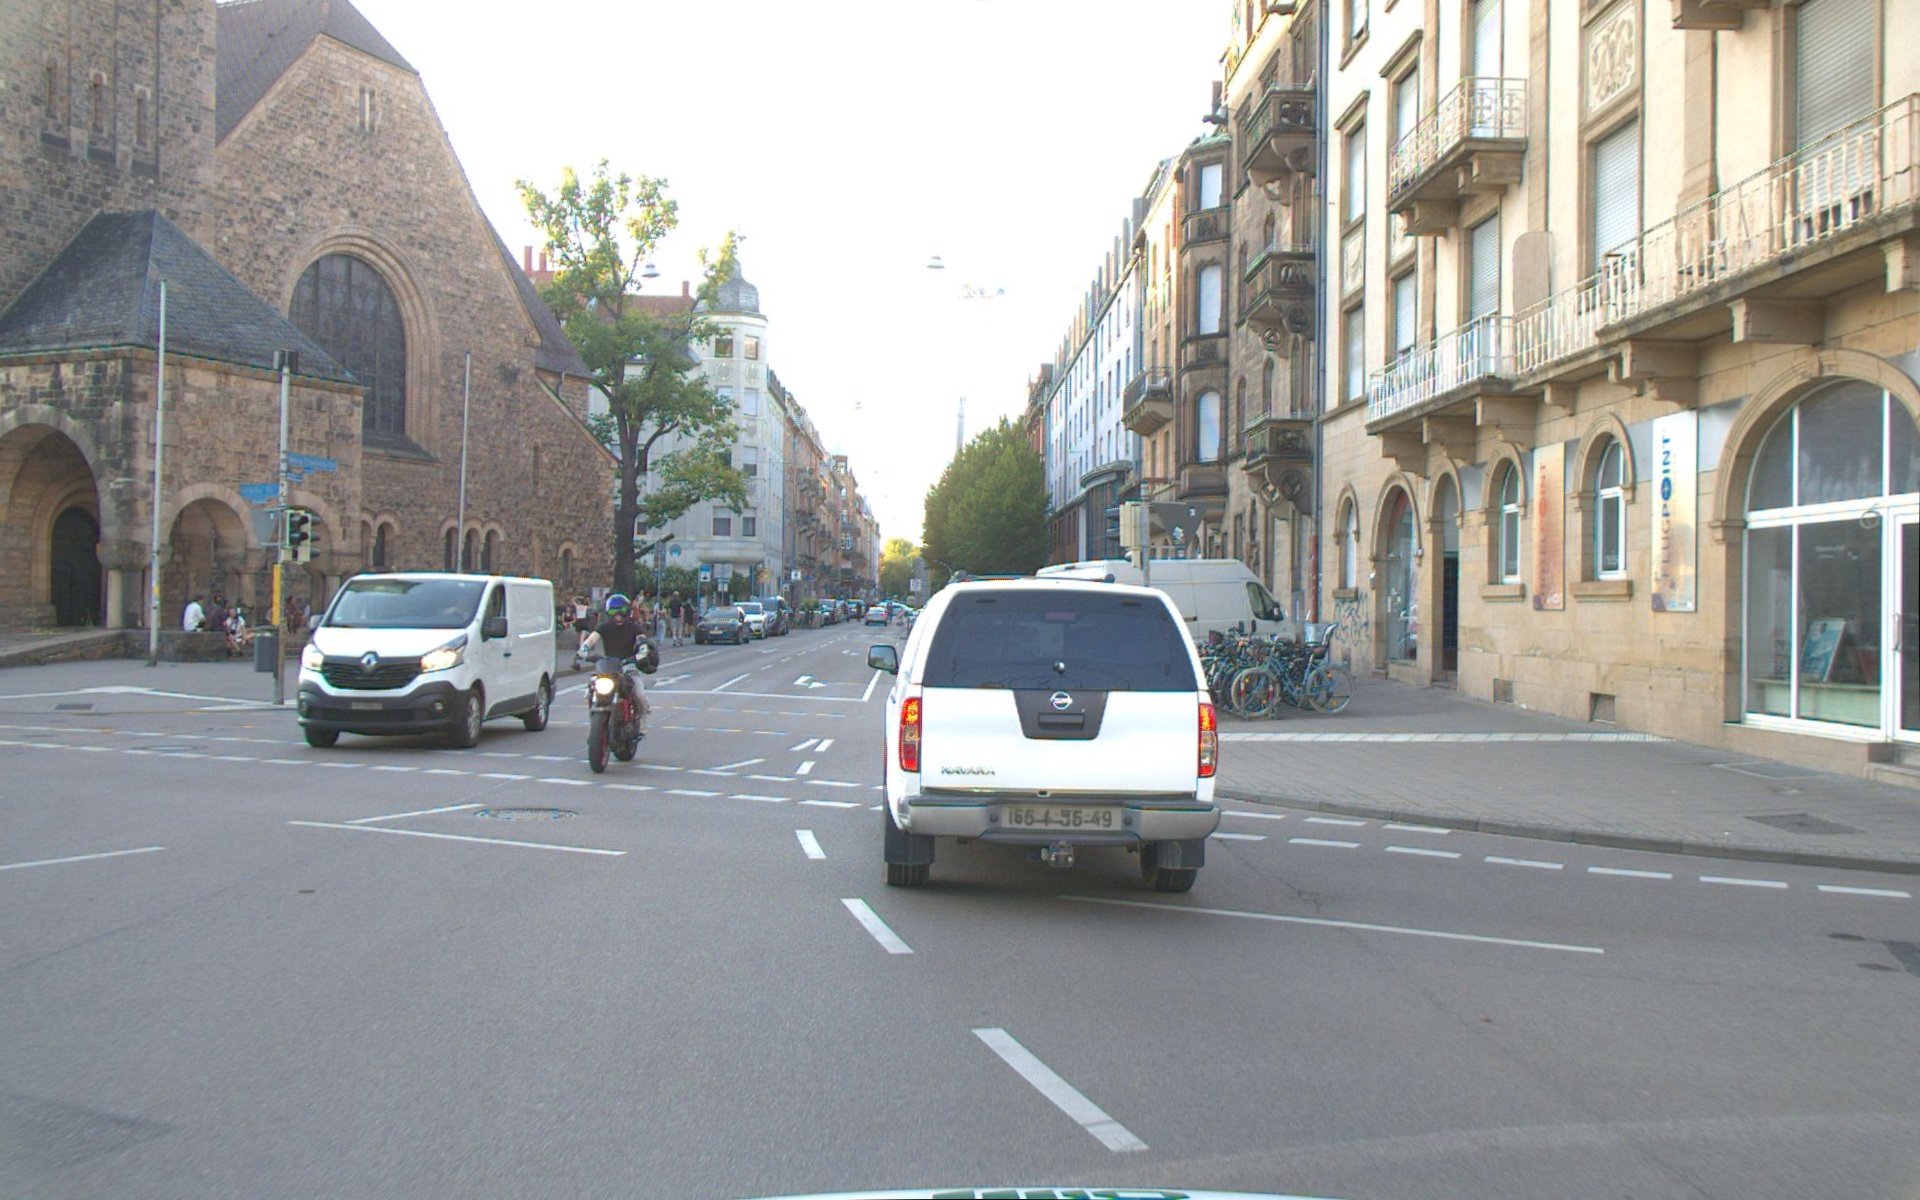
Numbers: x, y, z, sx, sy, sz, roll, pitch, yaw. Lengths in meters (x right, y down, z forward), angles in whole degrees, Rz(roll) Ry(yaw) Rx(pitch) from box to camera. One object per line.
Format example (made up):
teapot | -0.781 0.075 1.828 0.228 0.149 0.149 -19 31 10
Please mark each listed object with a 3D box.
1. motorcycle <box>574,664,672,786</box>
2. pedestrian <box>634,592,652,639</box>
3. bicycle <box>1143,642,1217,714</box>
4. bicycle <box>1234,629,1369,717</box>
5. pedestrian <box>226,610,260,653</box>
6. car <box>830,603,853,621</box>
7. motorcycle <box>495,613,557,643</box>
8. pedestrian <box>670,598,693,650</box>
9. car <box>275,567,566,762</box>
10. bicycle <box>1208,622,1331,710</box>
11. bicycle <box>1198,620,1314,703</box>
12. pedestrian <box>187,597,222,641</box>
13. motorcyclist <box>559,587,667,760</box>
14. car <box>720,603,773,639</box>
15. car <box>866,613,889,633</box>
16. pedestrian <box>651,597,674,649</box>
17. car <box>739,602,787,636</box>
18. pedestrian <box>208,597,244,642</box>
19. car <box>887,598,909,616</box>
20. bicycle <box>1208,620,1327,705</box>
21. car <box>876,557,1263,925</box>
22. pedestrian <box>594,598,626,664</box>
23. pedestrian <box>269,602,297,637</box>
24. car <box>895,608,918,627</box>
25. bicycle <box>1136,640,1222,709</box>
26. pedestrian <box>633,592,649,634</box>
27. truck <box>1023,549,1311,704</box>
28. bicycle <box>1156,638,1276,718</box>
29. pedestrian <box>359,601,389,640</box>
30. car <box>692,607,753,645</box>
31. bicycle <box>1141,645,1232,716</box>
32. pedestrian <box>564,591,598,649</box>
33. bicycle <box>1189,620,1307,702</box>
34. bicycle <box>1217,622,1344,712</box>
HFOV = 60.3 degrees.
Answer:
motorcycle | -3.321 1.208 16.432 0.587 1.062 1.945 1 -1 -1
pedestrian | -12.993 0.638 67.813 0.632 1.888 0.560 1 -1 -14
bicycle | 3.389 1.200 25.489 1.055 1.042 0.317 -3 -1 -2
bicycle | 4.971 1.052 24.137 1.781 1.170 0.636 -3 -1 -2
pedestrian | -16.407 0.726 37.861 0.469 0.977 0.522 1 -1 30
car | -10.479 1.086 146.453 1.821 1.556 3.999 1 -1 -1
motorcycle | -15.213 0.968 58.000 2.120 1.005 0.594 1 -1 20
pedestrian | -10.224 0.863 60.703 0.635 1.888 0.556 2 -1 -29
car | -6.266 0.699 19.892 1.953 2.049 4.949 0 -1 -1
bicycle | 4.816 1.023 25.789 1.781 1.259 0.477 -3 -1 -2
bicycle | 4.849 1.002 27.120 1.781 1.259 0.410 -3 -1 -2
pedestrian | -16.891 0.426 36.970 0.511 0.977 0.479 1 -1 19
motorcyclist | -3.474 0.721 16.631 0.857 1.673 0.963 1 -1 -1
car | -9.480 0.928 73.746 1.821 1.556 3.999 1 -1 -1
car | -6.671 1.861 133.865 1.821 1.556 3.998 1 -1 -2
pedestrian | -10.861 0.840 60.412 0.635 1.888 0.556 2 -1 -29
car | -9.535 0.915 80.329 1.821 1.556 3.999 1 -1 -1
pedestrian | -16.282 0.439 36.692 0.511 0.977 0.479 1 -1 19
car | -5.588 0.615 148.817 1.882 1.556 3.998 1 -1 -3
bicycle | 4.918 0.998 26.515 1.781 1.259 0.412 -3 -1 -2
car | 0.574 0.743 10.521 1.953 1.841 4.000 2 -1 0
pedestrian | -10.479 0.932 49.532 0.796 1.934 0.666 1 -1 -2
pedestrian | -19.204 0.562 46.926 0.541 0.977 0.708 1 -1 -6
car | -4.449 1.470 138.494 1.821 1.556 3.999 1 -1 -1
bicycle | 3.534 1.201 26.747 1.306 1.042 0.317 -3 -1 -2
pedestrian | -13.234 0.554 68.654 0.549 1.725 0.644 1 -1 -8
truck | 3.935 0.476 30.705 5.628 2.610 2.251 1 0 -43
bicycle | 3.802 1.157 24.604 1.692 1.102 0.317 -3 -1 -2
pedestrian | -15.021 0.521 42.397 0.510 0.977 0.479 1 -1 18
car | -9.385 1.008 65.550 1.821 1.422 3.999 1 -1 -1
bicycle | 3.583 1.271 26.199 1.344 1.042 0.317 -3 -1 -2
pedestrian | -11.303 0.608 49.328 0.796 1.699 0.859 1 -1 -2
bicycle | 4.808 1.008 27.652 1.818 1.259 0.530 -3 -1 -2
bicycle | 4.852 1.013 25.078 1.781 1.259 0.488 -3 -1 -2
